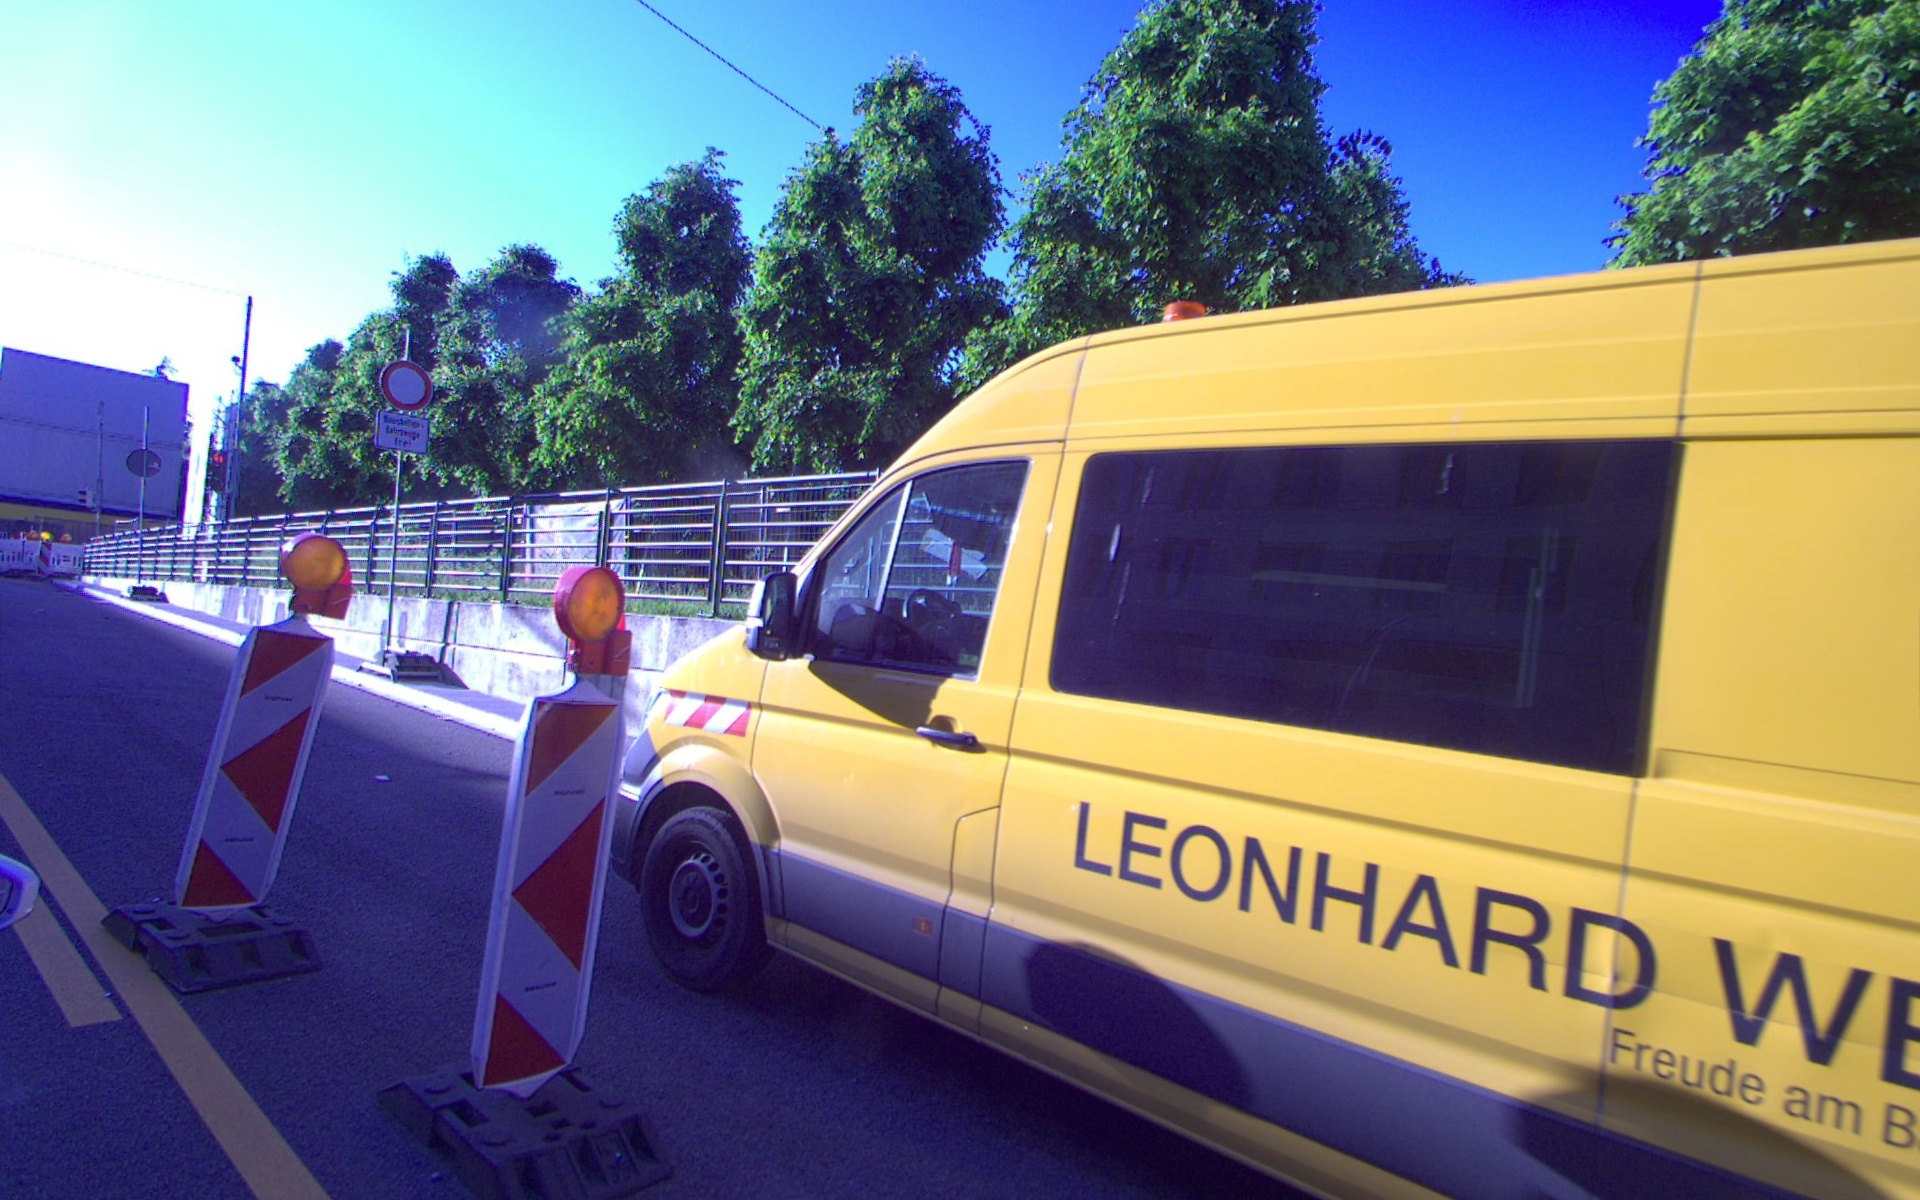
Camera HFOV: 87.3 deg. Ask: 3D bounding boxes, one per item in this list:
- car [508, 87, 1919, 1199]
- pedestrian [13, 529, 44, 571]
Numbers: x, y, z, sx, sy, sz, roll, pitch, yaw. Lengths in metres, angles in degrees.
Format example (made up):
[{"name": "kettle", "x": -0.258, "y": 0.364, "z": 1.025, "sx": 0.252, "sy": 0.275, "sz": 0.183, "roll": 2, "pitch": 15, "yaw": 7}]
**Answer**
[{"name": "car", "x": 1.440, "y": 0.438, "z": 3.208, "sx": 6.883, "sy": 2.656, "sz": 2.111, "roll": 6, "pitch": -1, "yaw": 38}, {"name": "pedestrian", "x": -30.837, "y": -1.652, "z": 33.303, "sx": 0.617, "sy": 1.314, "sz": 0.488, "roll": 10, "pitch": -4, "yaw": -44}]
